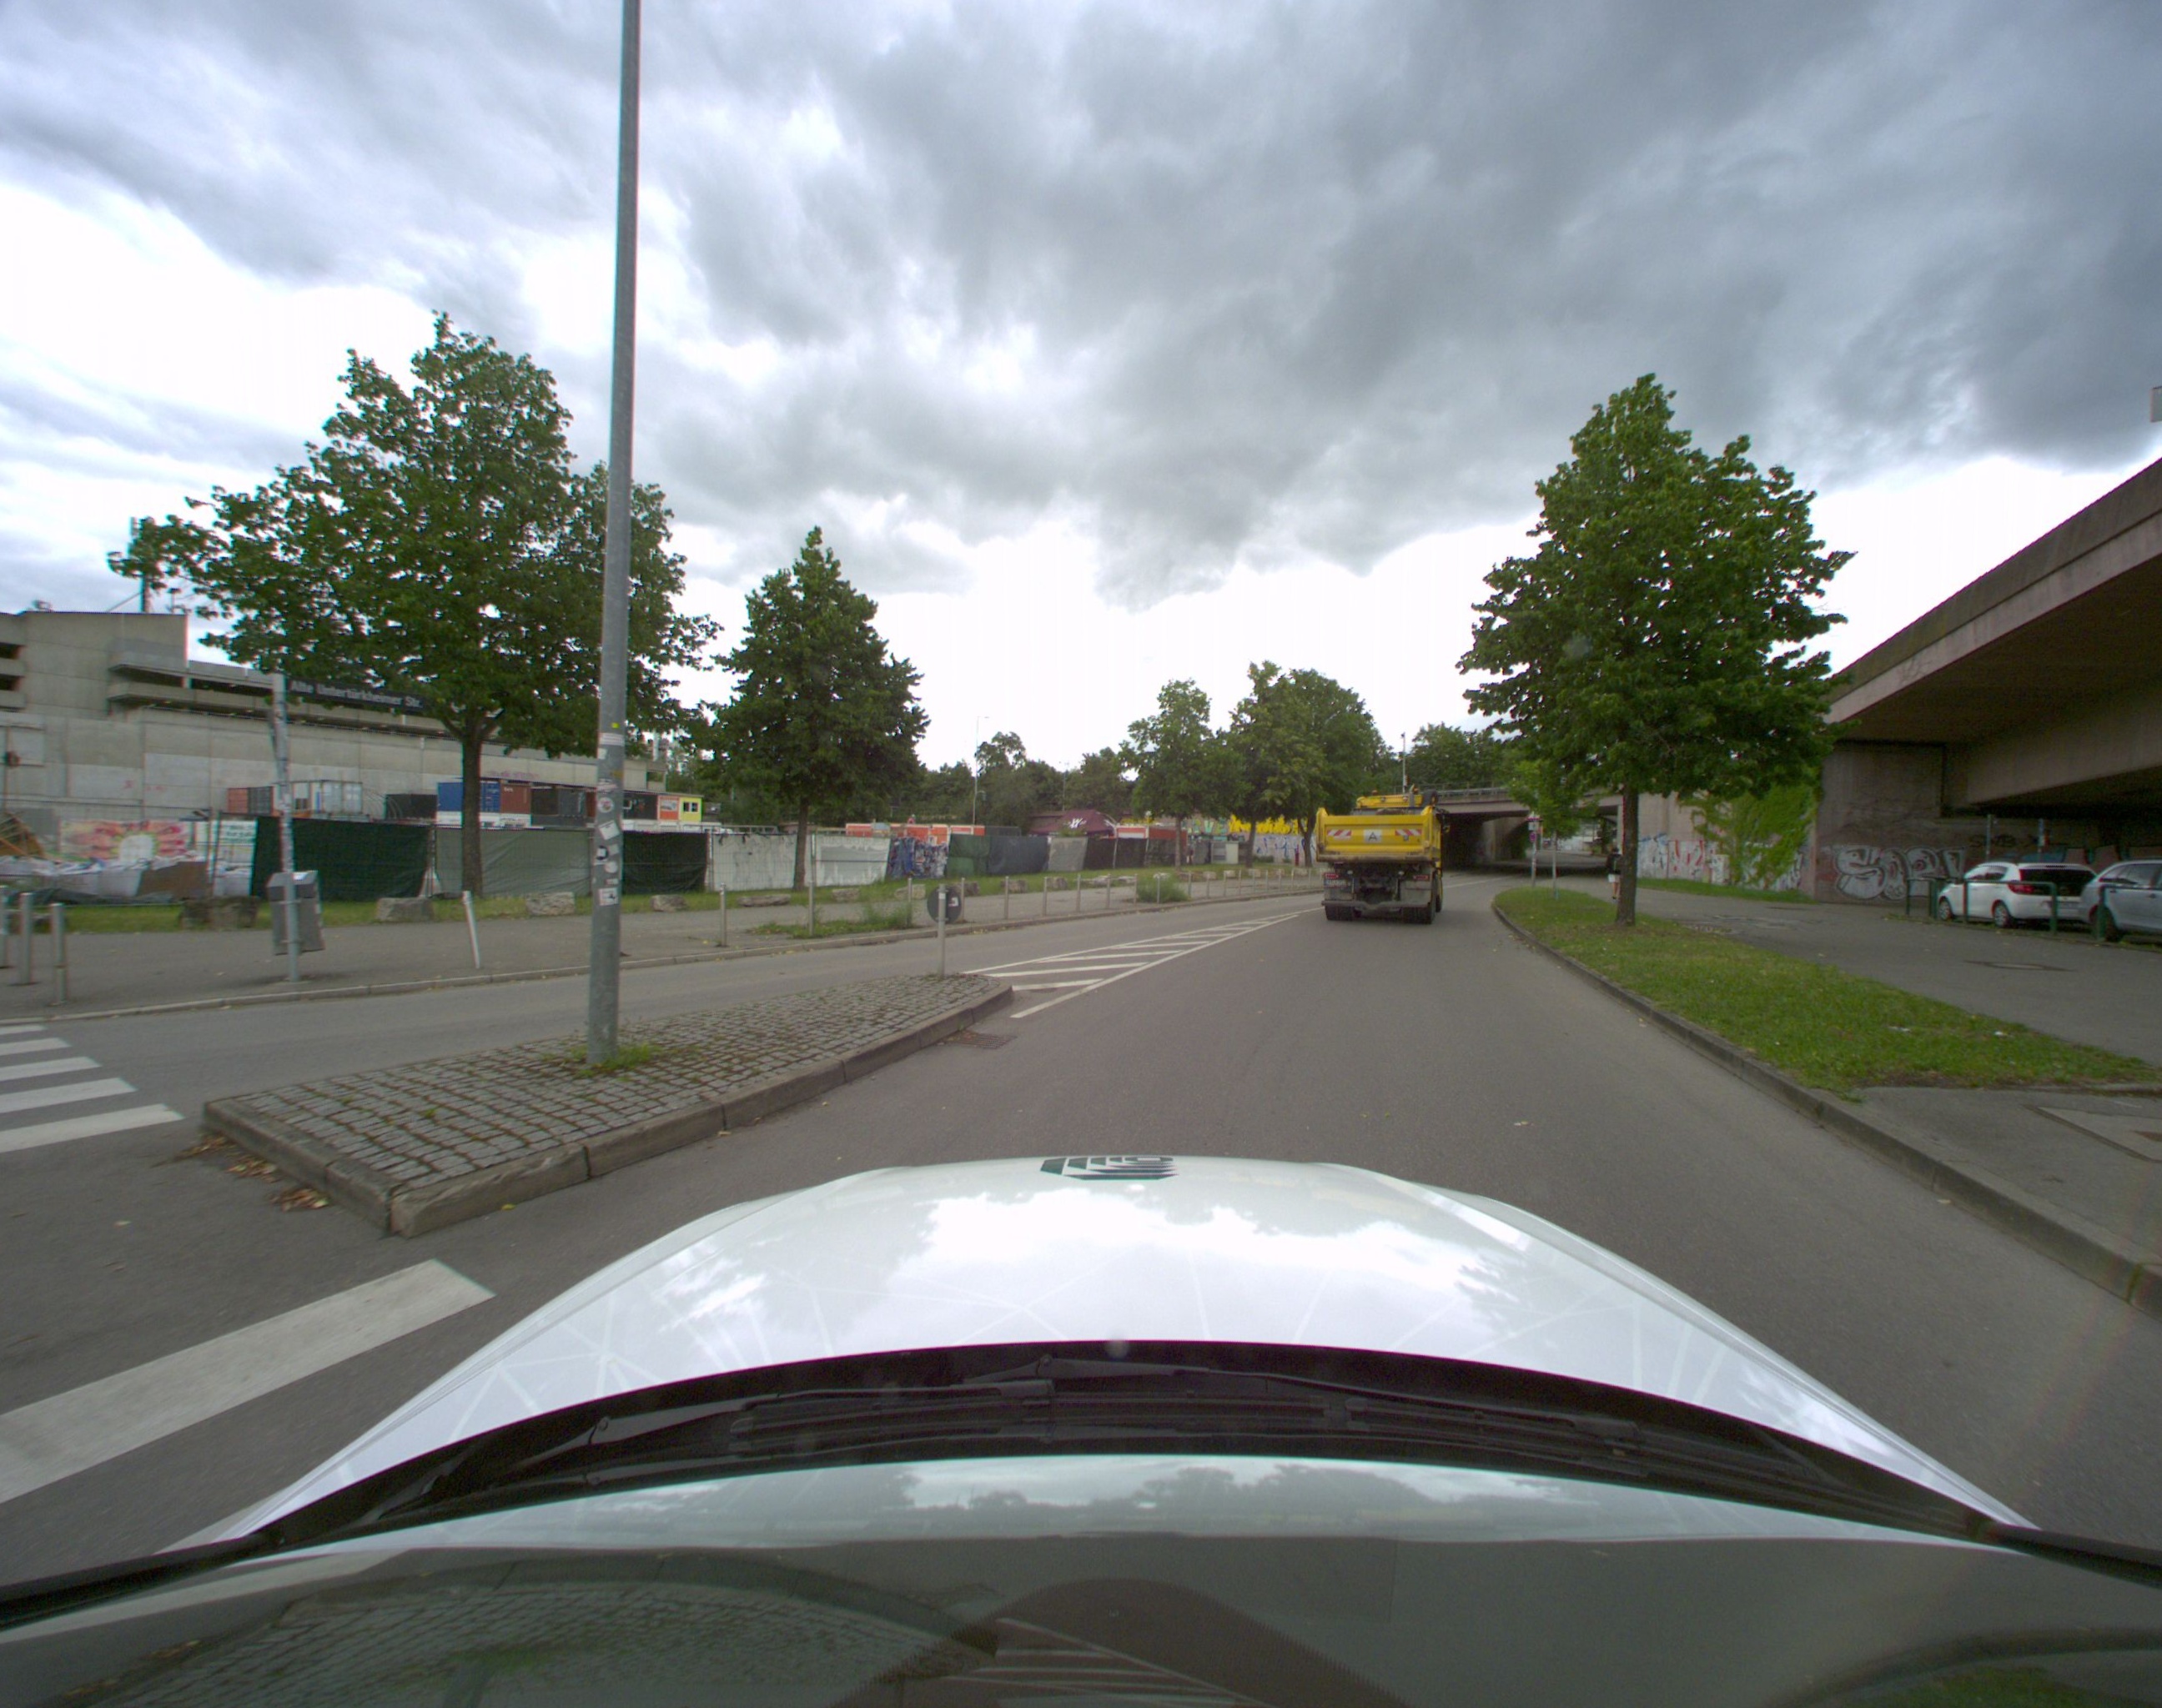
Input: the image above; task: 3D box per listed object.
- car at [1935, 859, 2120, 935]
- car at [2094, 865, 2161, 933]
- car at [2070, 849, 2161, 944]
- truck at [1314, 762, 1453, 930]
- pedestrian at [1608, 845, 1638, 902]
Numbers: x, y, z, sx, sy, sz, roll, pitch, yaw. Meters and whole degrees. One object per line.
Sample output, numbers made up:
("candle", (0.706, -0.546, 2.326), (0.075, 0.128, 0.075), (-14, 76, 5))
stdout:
("car", (20.894, 0.871, 18.165), (1.559, 1.440, 3.398), (2, 1, 29))
("car", (26.165, 1.071, 19.163), (1.727, 1.498, 4.025), (2, 1, 33))
("car", (18.411, 0.720, 13.059), (1.597, 1.535, 4.093), (2, 1, 25))
("truck", (8.425, -0.225, 21.990), (2.733, 3.698, 7.926), (1, 1, 25))
("pedestrian", (18.701, 0.653, 28.124), (0.728, 1.907, 0.830), (1, 0, 26))
